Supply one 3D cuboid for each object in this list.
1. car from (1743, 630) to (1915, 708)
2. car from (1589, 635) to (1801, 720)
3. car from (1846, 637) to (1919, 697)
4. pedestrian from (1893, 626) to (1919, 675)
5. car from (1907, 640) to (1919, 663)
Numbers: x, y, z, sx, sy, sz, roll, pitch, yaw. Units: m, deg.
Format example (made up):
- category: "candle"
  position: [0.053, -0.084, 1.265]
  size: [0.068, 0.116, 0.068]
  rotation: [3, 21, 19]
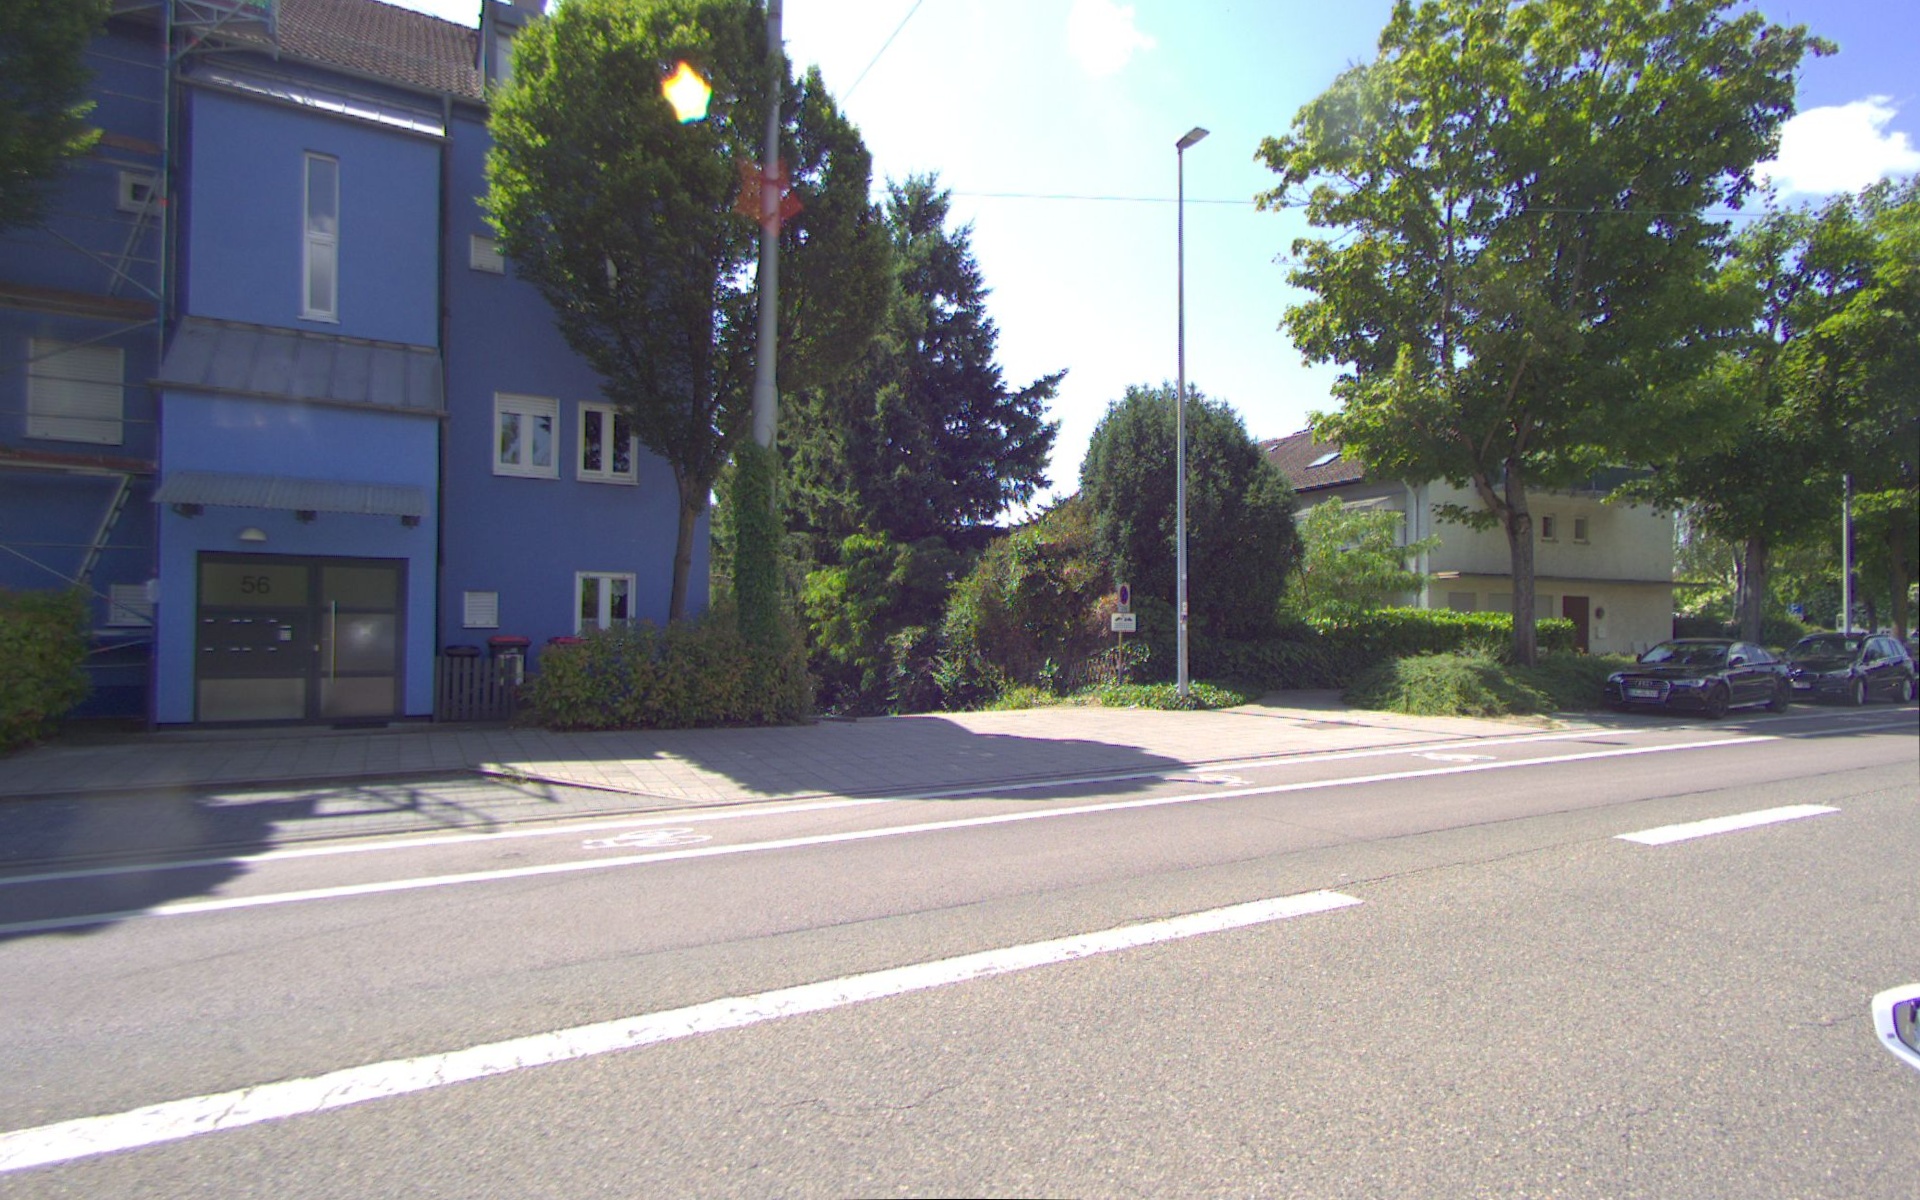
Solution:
- category: "car"
  position: [20.495, 1.570, 23.641]
  size: [4.585, 1.625, 1.765]
  rotation: [1, 0, -32]
- category: "car"
  position: [14.709, 1.473, 20.028]
  size: [4.750, 1.475, 1.765]
  rotation: [1, -1, -32]
- category: "car"
  position: [25.423, 1.734, 26.506]
  size: [4.644, 1.391, 1.765]
  rotation: [1, 1, -32]
- category: "pedestrian"
  position: [36.566, 1.919, 38.513]
  size: [0.786, 1.847, 0.969]
  rotation: [1, -1, -32]
- category: "car"
  position: [57.701, 3.033, 58.085]
  size: [1.784, 1.357, 3.968]
  rotation: [1, -2, -30]
